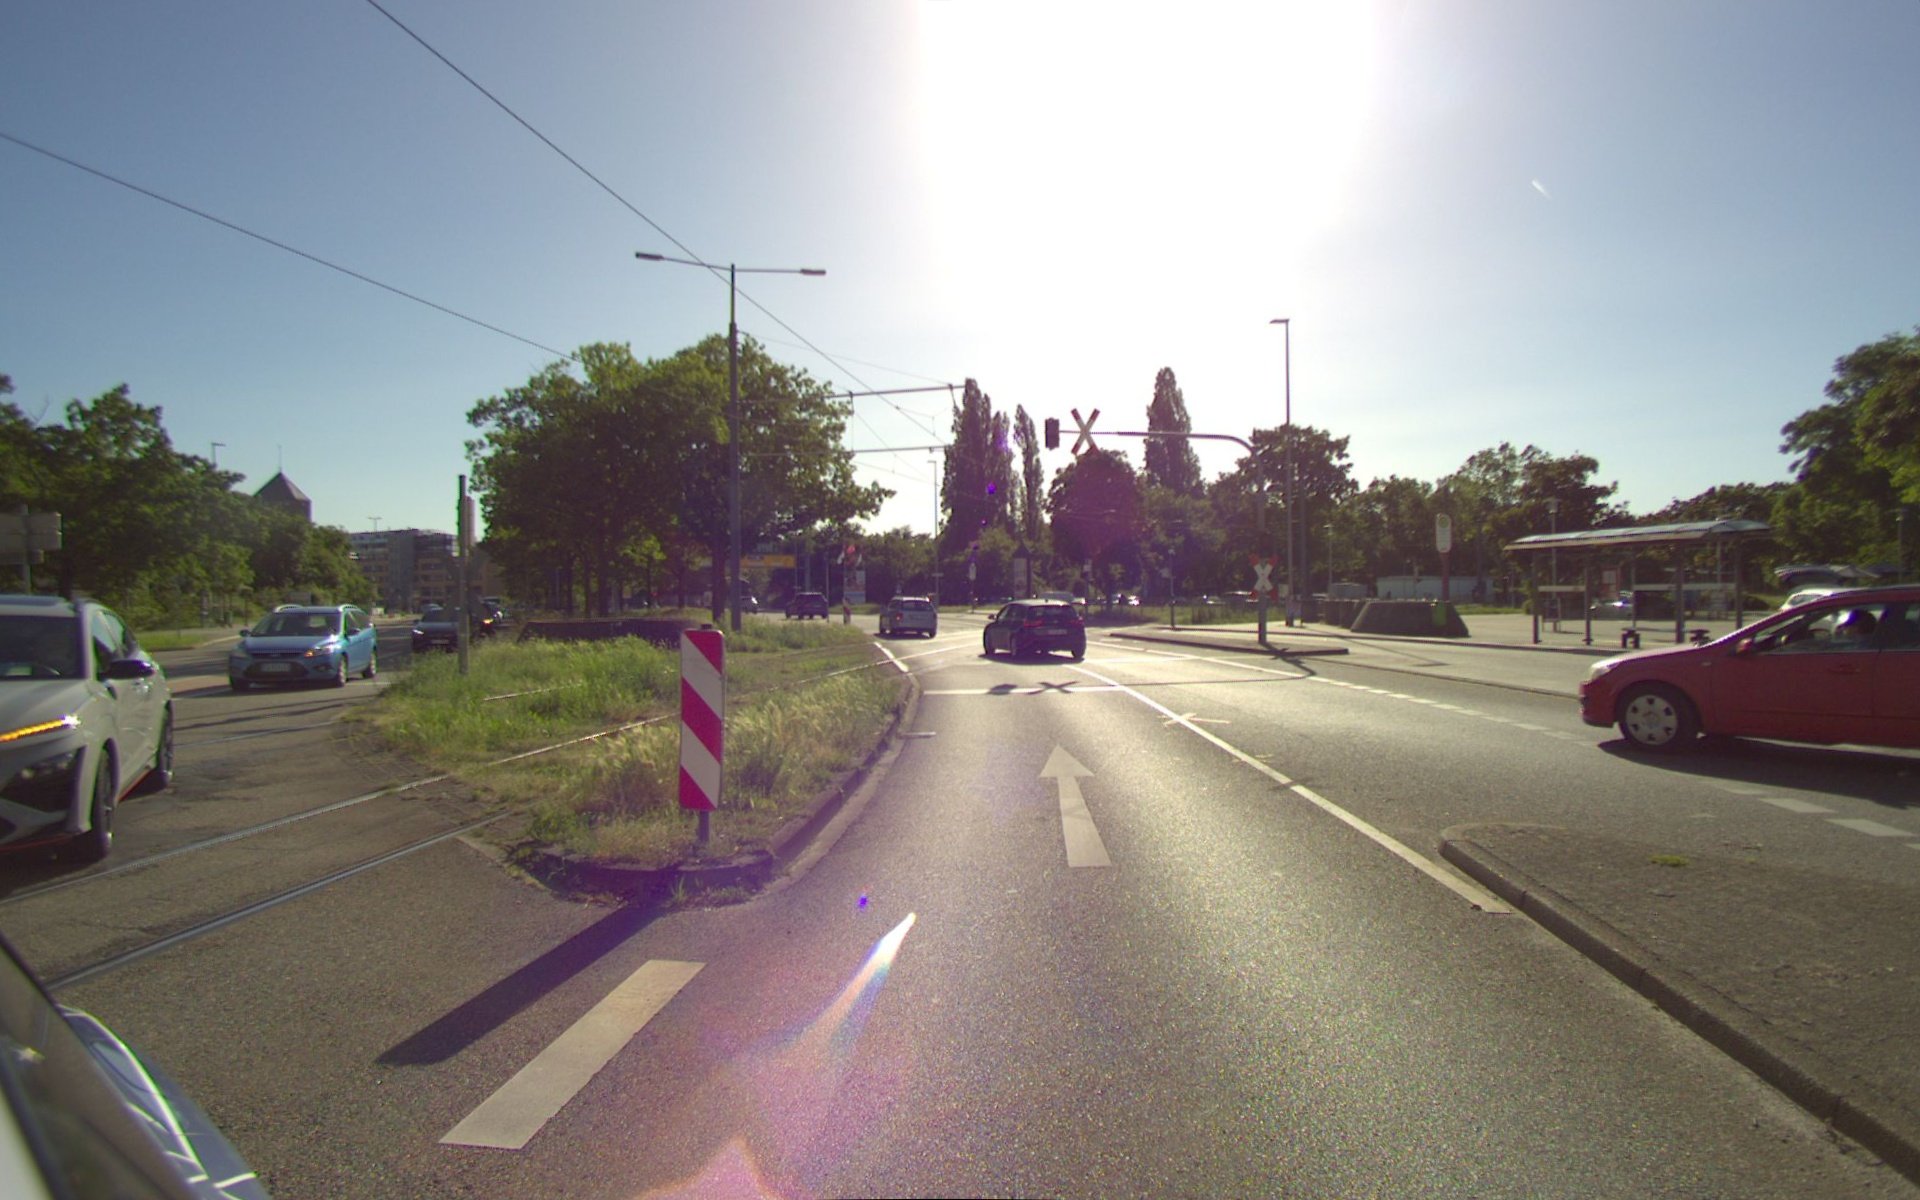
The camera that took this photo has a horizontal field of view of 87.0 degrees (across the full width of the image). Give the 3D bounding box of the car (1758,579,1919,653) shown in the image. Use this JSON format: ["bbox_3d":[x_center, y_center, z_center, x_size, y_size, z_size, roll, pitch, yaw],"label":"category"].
[{"bbox_3d":[20.215,0.309,22.761,1.660,1.519,3.596,-1,0,0],"label":"car"}]

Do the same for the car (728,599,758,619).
[{"bbox_3d":[-19.309,0.791,89.997,1.965,1.674,4.499,-1,0,-21],"label":"car"}]

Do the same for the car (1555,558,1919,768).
[{"bbox_3d":[7.760,0.456,8.358,1.967,1.564,4.495,-1,0,-37],"label":"car"}]

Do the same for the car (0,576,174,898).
[{"bbox_3d":[-6.439,0.695,6.449,1.874,1.564,4.497,-1,0,-33],"label":"car"}]

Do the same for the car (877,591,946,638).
[{"bbox_3d":[-1.930,0.521,38.615,1.967,1.674,4.495,-1,0,-11],"label":"car"}]

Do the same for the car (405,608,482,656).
[{"bbox_3d":[-17.286,1.008,34.056,1.841,1.466,4.499,-1,0,-21],"label":"car"}]

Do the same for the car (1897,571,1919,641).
[{"bbox_3d":[22.693,0.125,21.478,1.773,1.592,4.002,-1,0,-2],"label":"car"}]

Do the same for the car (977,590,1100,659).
[{"bbox_3d":[1.880,0.576,25.915,1.967,1.564,4.495,-1,0,-11],"label":"car"}]

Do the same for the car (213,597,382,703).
[{"bbox_3d":[-12.712,0.868,19.720,1.841,1.789,4.499,-1,0,-21],"label":"car"}]

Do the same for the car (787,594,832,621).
[{"bbox_3d":[-9.719,0.479,65.111,1.965,1.674,4.499,-1,0,-20],"label":"car"}]
